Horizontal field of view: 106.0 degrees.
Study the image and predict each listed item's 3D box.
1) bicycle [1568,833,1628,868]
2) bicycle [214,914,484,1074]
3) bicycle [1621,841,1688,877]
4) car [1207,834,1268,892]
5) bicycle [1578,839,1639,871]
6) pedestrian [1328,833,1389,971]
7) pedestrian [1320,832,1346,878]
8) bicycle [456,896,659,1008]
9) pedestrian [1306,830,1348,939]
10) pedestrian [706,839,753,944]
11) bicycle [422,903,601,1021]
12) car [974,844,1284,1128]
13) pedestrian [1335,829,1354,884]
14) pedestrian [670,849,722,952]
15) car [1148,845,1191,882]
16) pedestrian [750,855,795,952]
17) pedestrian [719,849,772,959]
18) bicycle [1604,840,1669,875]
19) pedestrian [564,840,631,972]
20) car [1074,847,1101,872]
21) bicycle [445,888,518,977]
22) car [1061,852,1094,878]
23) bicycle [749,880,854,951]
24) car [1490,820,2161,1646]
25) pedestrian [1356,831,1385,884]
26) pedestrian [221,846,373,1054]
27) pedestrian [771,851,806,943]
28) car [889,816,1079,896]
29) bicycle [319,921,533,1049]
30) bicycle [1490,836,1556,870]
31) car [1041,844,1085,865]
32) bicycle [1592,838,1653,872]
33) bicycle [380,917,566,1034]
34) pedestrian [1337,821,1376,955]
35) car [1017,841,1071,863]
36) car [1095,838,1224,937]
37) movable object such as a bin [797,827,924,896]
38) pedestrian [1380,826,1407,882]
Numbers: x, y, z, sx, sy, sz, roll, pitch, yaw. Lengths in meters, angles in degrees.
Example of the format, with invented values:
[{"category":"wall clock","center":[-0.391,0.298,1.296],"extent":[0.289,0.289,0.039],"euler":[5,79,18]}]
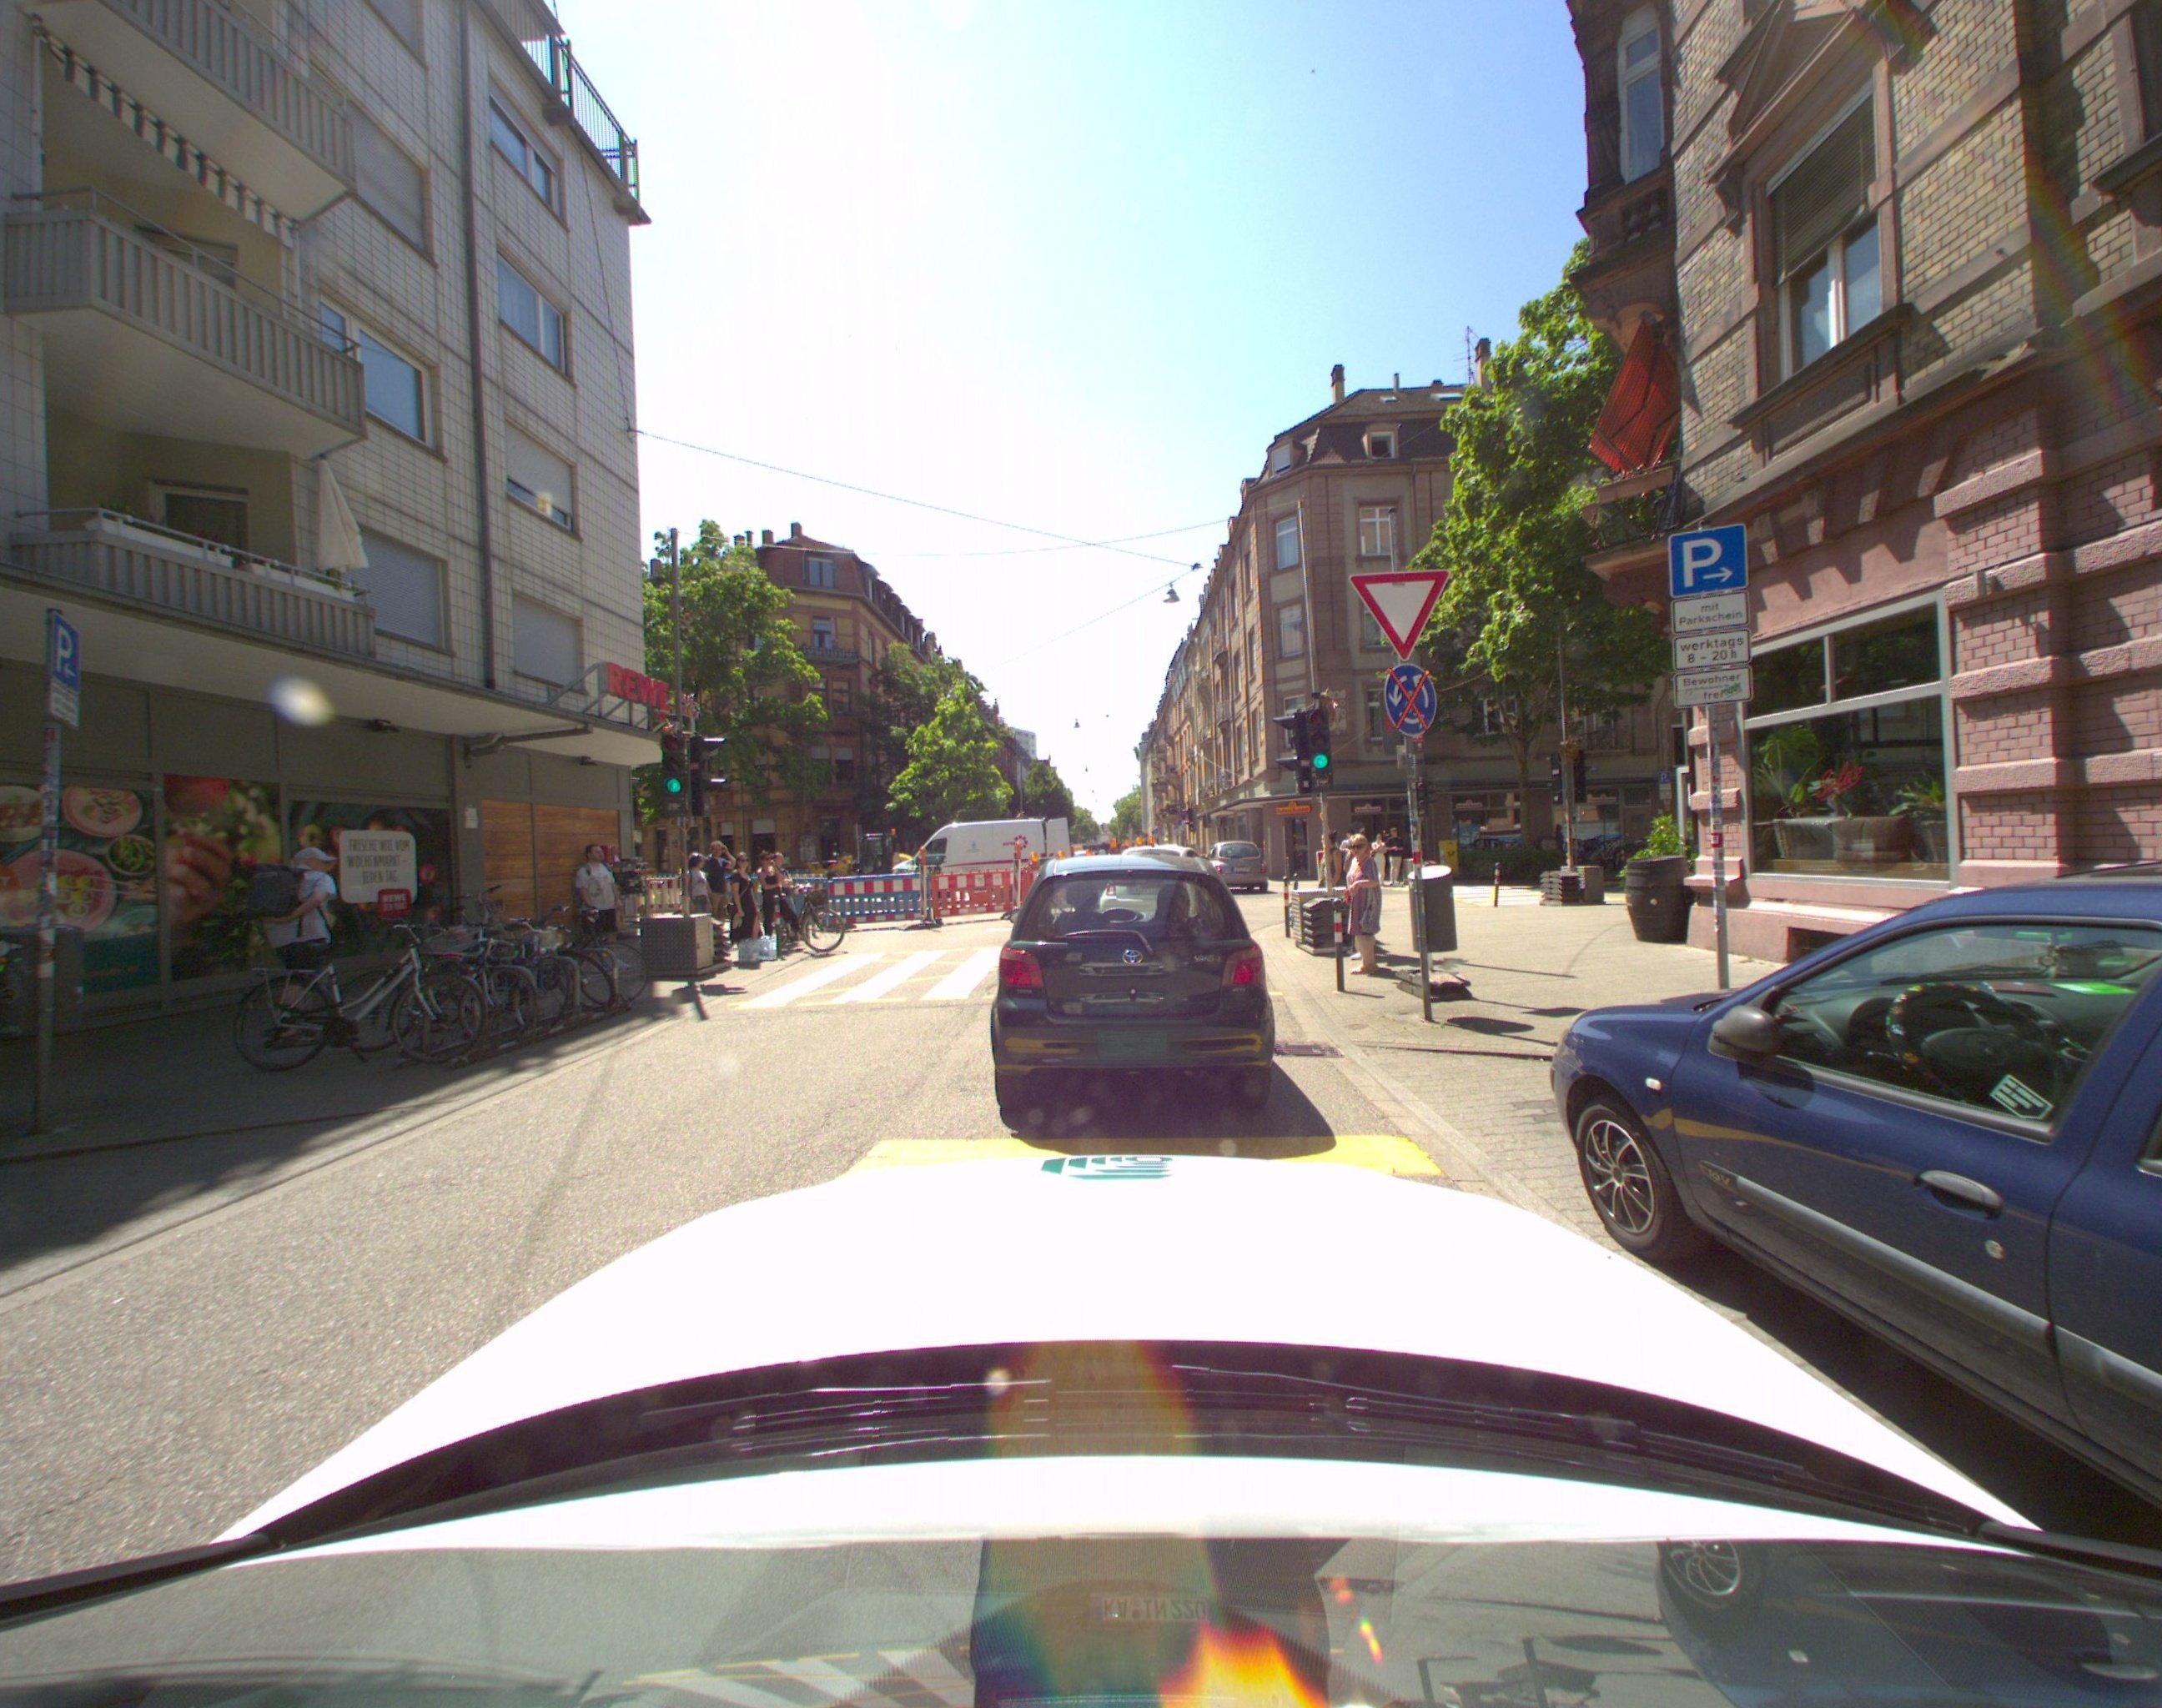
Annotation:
[{"category":"bicycle","center":[17.436,-0.128,27.493],"extent":[1.756,1.080,0.470],"euler":[-2,2,-3]},{"category":"bicycle","center":[-5.658,1.064,6.350],"extent":[1.580,1.139,0.526],"euler":[0,0,-3]},{"category":"bicycle","center":[17.601,0.151,25.010],"extent":[1.756,0.996,0.470],"euler":[-2,2,-3]},{"category":"car","center":[4.670,0.235,24.639],"extent":[1.514,1.592,3.270],"euler":[-2,0,7]},{"category":"bicycle","center":[17.520,0.025,27.067],"extent":[1.756,0.996,0.470],"euler":[-2,2,-3]},{"category":"pedestrian","center":[3.224,0.542,9.497],"extent":[0.490,1.543,0.437],"euler":[-4,0,7]},{"category":"pedestrian","center":[9.116,0.026,29.479],"extent":[0.795,1.623,0.646],"euler":[-2,0,16]},{"category":"bicycle","center":[-5.675,1.047,8.893],"extent":[1.794,1.123,0.577],"euler":[0,0,-5]},{"category":"pedestrian","center":[3.613,0.435,11.987],"extent":[0.457,1.560,0.480],"euler":[-2,0,8]},{"category":"pedestrian","center":[-6.262,0.656,14.533],"extent":[0.507,1.820,0.599],"euler":[-2,0,-1]},{"category":"bicycle","center":[-5.666,1.065,8.138],"extent":[1.515,1.117,0.335],"euler":[0,0,-3]},{"category":"car","center":[0.393,0.701,5.932],"extent":[1.606,1.485,3.246],"euler":[-1,0,5]},{"category":"pedestrian","center":[8.589,0.078,26.538],"extent":[0.473,1.732,0.876],"euler":[-2,-1,21]},{"category":"pedestrian","center":[-6.321,0.750,13.393],"extent":[0.507,1.633,0.599],"euler":[-2,0,-1]},{"category":"car","center":[3.856,0.363,34.966],"extent":[1.618,1.432,3.669],"euler":[-3,0,8]},{"category":"pedestrian","center":[-5.085,0.800,13.442],"extent":[0.491,1.565,0.462],"euler":[0,1,28]},{"category":"pedestrian","center":[-5.131,0.745,12.478],"extent":[0.539,1.633,0.511],"euler":[-2,0,-1]},{"category":"bicycle","center":[17.513,0.097,25.669],"extent":[1.756,0.996,0.470],"euler":[-2,2,-3]},{"category":"pedestrian","center":[-6.692,0.700,11.293],"extent":[0.507,1.770,0.599],"euler":[-2,0,-1]},{"category":"car","center":[0.506,0.394,59.581],"extent":[1.748,1.645,4.380],"euler":[-5,0,2]},{"category":"bicycle","center":[-8.326,1.054,11.354],"extent":[0.321,1.086,1.424],"euler":[-2,1,-17]},{"category":"car","center":[-0.167,0.672,50.031],"extent":[1.748,1.444,4.002],"euler":[-3,0,2]},{"category":"bicycle","center":[-4.688,1.002,13.629],"extent":[1.789,1.119,0.470],"euler":[0,1,23]},{"category":"car","center":[2.708,0.656,1.890],"extent":[1.622,1.432,3.660],"euler":[-3,0,0]},{"category":"pedestrian","center":[9.445,0.109,26.555],"extent":[0.701,1.645,0.422],"euler":[-5,3,-7]},{"category":"pedestrian","center":[-6.888,0.808,7.187],"extent":[0.628,1.726,0.659],"euler":[-2,0,4]},{"category":"pedestrian","center":[-5.264,0.761,14.660],"extent":[0.388,1.618,0.475],"euler":[-2,0,-1]},{"category":"car","center":[-3.469,0.068,30.109],"extent":[6.594,2.751,2.381],"euler":[-1,0,2]},{"category":"bicycle","center":[-5.656,1.120,7.076],"extent":[1.490,1.030,0.397],"euler":[0,0,-3]},{"category":"bicycle","center":[15.538,-0.040,28.683],"extent":[1.964,1.132,0.519],"euler":[-2,0,19]},{"category":"car","center":[-2.038,0.015,91.968],"extent":[4.581,2.187,1.983],"euler":[-2,0,-26]},{"category":"bicycle","center":[17.414,0.016,26.194],"extent":[1.679,1.005,0.470],"euler":[-2,2,-3]},{"category":"bicycle","center":[-5.654,1.122,7.608],"extent":[1.444,1.036,0.335],"euler":[0,0,-3]},{"category":"pedestrian","center":[3.521,0.424,10.423],"extent":[0.330,1.675,0.402],"euler":[-2,0,8]},{"category":"car","center":[-3.645,-0.176,79.593],"extent":[4.800,1.994,2.035],"euler":[-2,0,-27]},{"category":"car","center":[1.493,0.506,14.427],"extent":[1.510,1.521,3.279],"euler":[-2,1,18]},{"category":"movable object such as a bin","center":[-8.793,0.298,32.767],"extent":[4.526,2.659,1.955],"euler":[-1,0,1]},{"category":"pedestrian","center":[10.240,0.001,26.685],"extent":[0.574,1.768,0.470],"euler":[-5,3,-7]}]
